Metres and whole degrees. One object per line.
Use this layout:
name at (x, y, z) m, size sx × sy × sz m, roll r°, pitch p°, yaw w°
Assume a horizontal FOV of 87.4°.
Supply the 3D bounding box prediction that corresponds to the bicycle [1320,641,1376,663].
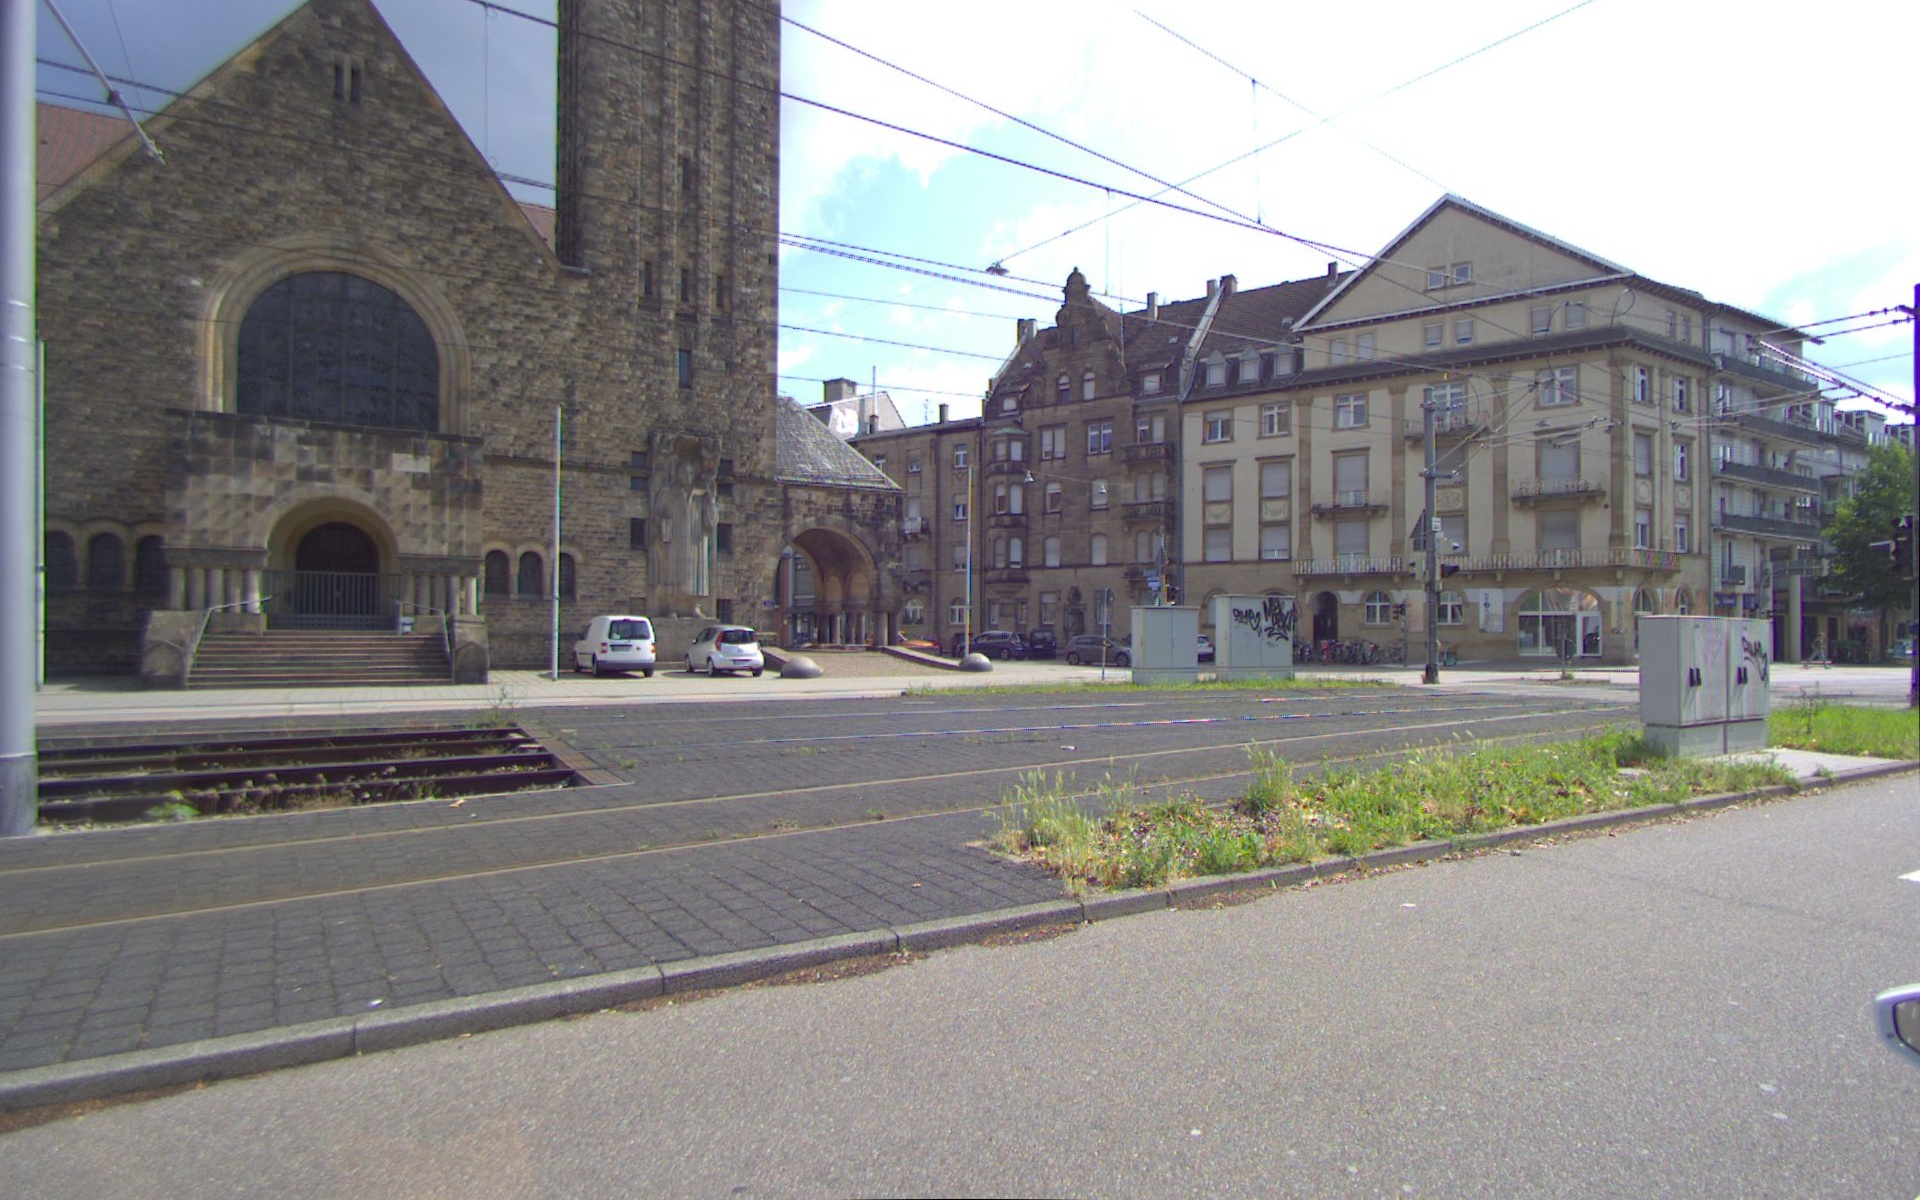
bicycle at (19.569, 2.595, 50.703) m, size 2.522 × 1.067 × 0.680 m, roll -1°, pitch -2°, yaw 33°

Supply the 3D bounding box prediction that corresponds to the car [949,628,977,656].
car at (0.206, 2.733, 65.250) m, size 1.753 × 1.750 × 4.001 m, roll 0°, pitch -2°, yaw 0°

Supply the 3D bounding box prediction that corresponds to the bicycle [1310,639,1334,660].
bicycle at (19.141, 2.623, 53.064) m, size 0.729 × 1.067 × 2.561 m, roll -1°, pitch -2°, yaw 30°

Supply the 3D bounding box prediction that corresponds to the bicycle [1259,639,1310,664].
bicycle at (17.154, 2.722, 53.233) m, size 0.982 × 1.270 × 3.313 m, roll 1°, pitch -2°, yaw -13°

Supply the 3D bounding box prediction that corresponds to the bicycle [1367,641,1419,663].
bicycle at (21.993, 2.635, 51.059) m, size 2.525 × 1.067 × 0.803 m, roll 1°, pitch -2°, yaw -18°

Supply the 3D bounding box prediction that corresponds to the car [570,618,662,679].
car at (-10.757, 1.460, 31.239) m, size 1.874 × 1.771 × 3.848 m, roll 1°, pitch -2°, yaw -32°

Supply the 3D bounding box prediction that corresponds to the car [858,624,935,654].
car at (-3.550, 2.151, 55.907) m, size 4.258 × 1.566 × 1.625 m, roll -1°, pitch -2°, yaw 37°

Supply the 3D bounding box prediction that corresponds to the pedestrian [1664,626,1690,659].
pedestrian at (35.460, 2.085, 49.655) m, size 0.850 × 1.617 × 0.690 m, roll 1°, pitch -2°, yaw -24°

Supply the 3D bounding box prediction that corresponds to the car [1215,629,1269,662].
car at (15.256, 2.457, 54.465) m, size 1.960 × 1.696 × 4.002 m, roll 0°, pitch -2°, yaw 3°

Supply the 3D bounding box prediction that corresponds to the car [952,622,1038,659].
car at (2.015, 2.349, 58.663) m, size 4.727 × 2.040 × 1.994 m, roll -1°, pitch -2°, yaw 35°

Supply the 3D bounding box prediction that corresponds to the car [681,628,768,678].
car at (-7.596, 1.656, 32.224) m, size 1.834 × 1.522 × 3.249 m, roll 1°, pitch -2°, yaw -31°

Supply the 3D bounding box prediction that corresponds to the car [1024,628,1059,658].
car at (4.986, 2.636, 61.791) m, size 1.850 × 1.782 × 4.001 m, roll 0°, pitch -2°, yaw 0°

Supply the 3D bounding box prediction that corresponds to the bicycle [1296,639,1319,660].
bicycle at (18.660, 2.627, 53.860) m, size 0.729 × 1.067 × 2.360 m, roll -1°, pitch -2°, yaw 30°

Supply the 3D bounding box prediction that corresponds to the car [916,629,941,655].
car at (-2.105, 2.768, 66.809) m, size 1.617 × 1.718 × 3.859 m, roll 0°, pitch -2°, yaw -2°

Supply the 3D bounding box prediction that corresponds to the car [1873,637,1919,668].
car at (63.814, 3.522, 67.946) m, size 3.953 × 2.040 × 1.984 m, roll 1°, pitch -2°, yaw -30°

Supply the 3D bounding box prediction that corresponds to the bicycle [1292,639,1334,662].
bicycle at (17.873, 2.566, 50.873) m, size 1.939 × 1.129 × 0.487 m, roll -1°, pitch -2°, yaw 24°

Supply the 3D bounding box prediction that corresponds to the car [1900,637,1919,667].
car at (67.802, 3.616, 70.231) m, size 3.953 × 2.040 × 1.984 m, roll 1°, pitch -2°, yaw -30°

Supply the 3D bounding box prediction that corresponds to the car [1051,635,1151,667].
car at (6.719, 2.405, 48.056) m, size 4.497 × 1.455 × 1.700 m, roll -1°, pitch -2°, yaw 37°

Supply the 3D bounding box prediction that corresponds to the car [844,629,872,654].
car at (-7.167, 2.927, 70.753) m, size 1.653 × 1.697 × 4.000 m, roll 0°, pitch -2°, yaw -2°

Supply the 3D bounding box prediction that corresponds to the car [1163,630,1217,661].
car at (12.890, 2.520, 56.519) m, size 1.768 × 1.661 × 3.998 m, roll 0°, pitch -2°, yaw -5°

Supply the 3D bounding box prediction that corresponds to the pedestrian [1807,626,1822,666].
pedestrian at (44.117, 2.382, 51.834) m, size 0.415 × 2.040 × 0.474 m, roll 1°, pitch -2°, yaw -35°

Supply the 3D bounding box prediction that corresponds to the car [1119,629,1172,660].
car at (10.600, 2.543, 57.714) m, size 1.962 × 1.695 × 3.998 m, roll 0°, pitch -2°, yaw -5°

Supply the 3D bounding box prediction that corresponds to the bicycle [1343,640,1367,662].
bicycle at (20.521, 2.633, 52.143) m, size 0.792 × 1.067 × 2.561 m, roll -1°, pitch -2°, yaw 30°

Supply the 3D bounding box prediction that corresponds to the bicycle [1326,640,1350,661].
bicycle at (19.805, 2.628, 52.594) m, size 0.792 × 1.067 × 2.561 m, roll -1°, pitch -2°, yaw 30°
